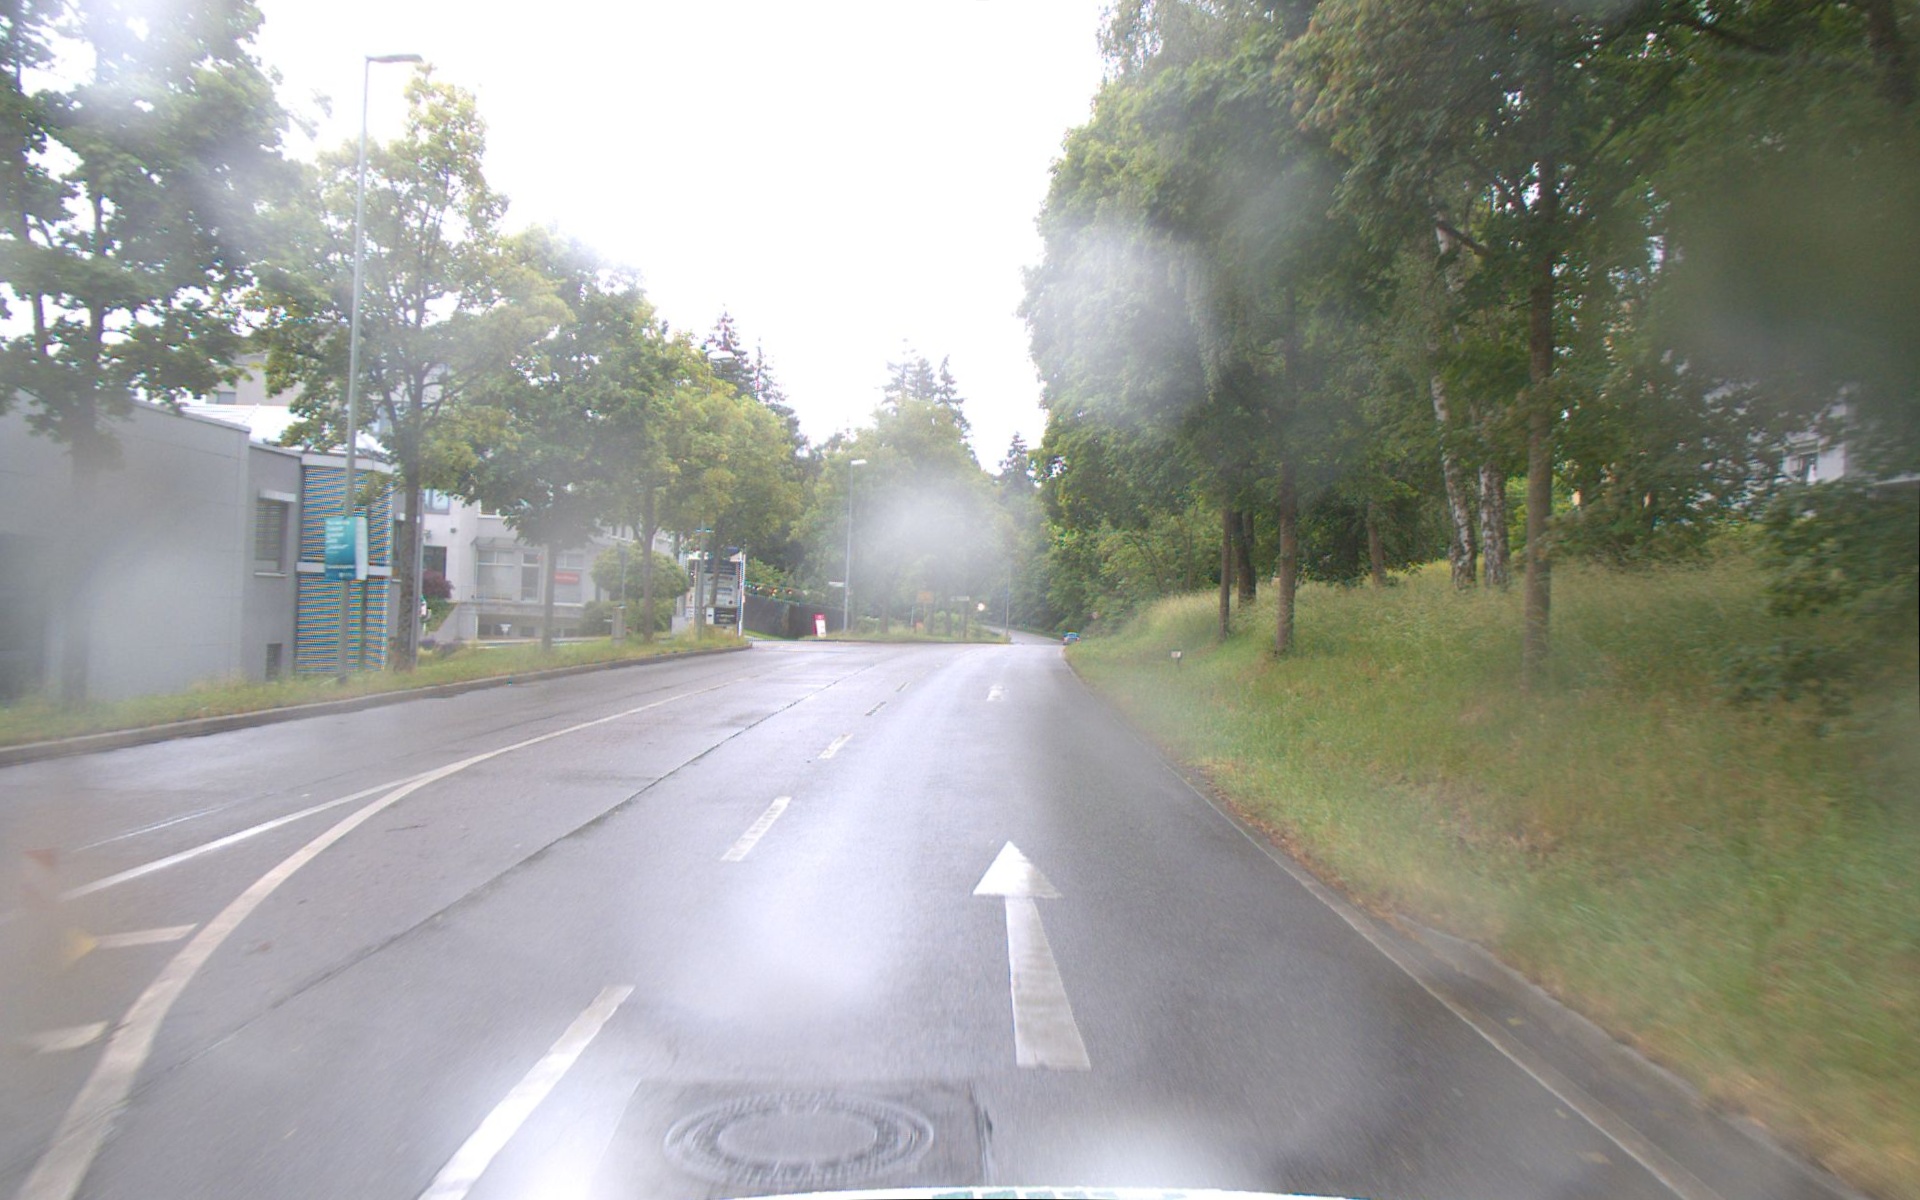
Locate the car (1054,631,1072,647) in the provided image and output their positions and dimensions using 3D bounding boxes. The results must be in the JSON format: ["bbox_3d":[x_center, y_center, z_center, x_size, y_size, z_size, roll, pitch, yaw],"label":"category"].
[{"bbox_3d":[10.215,3.836,163.739,1.700,1.537,4.001,0,-1,3],"label":"car"}]
